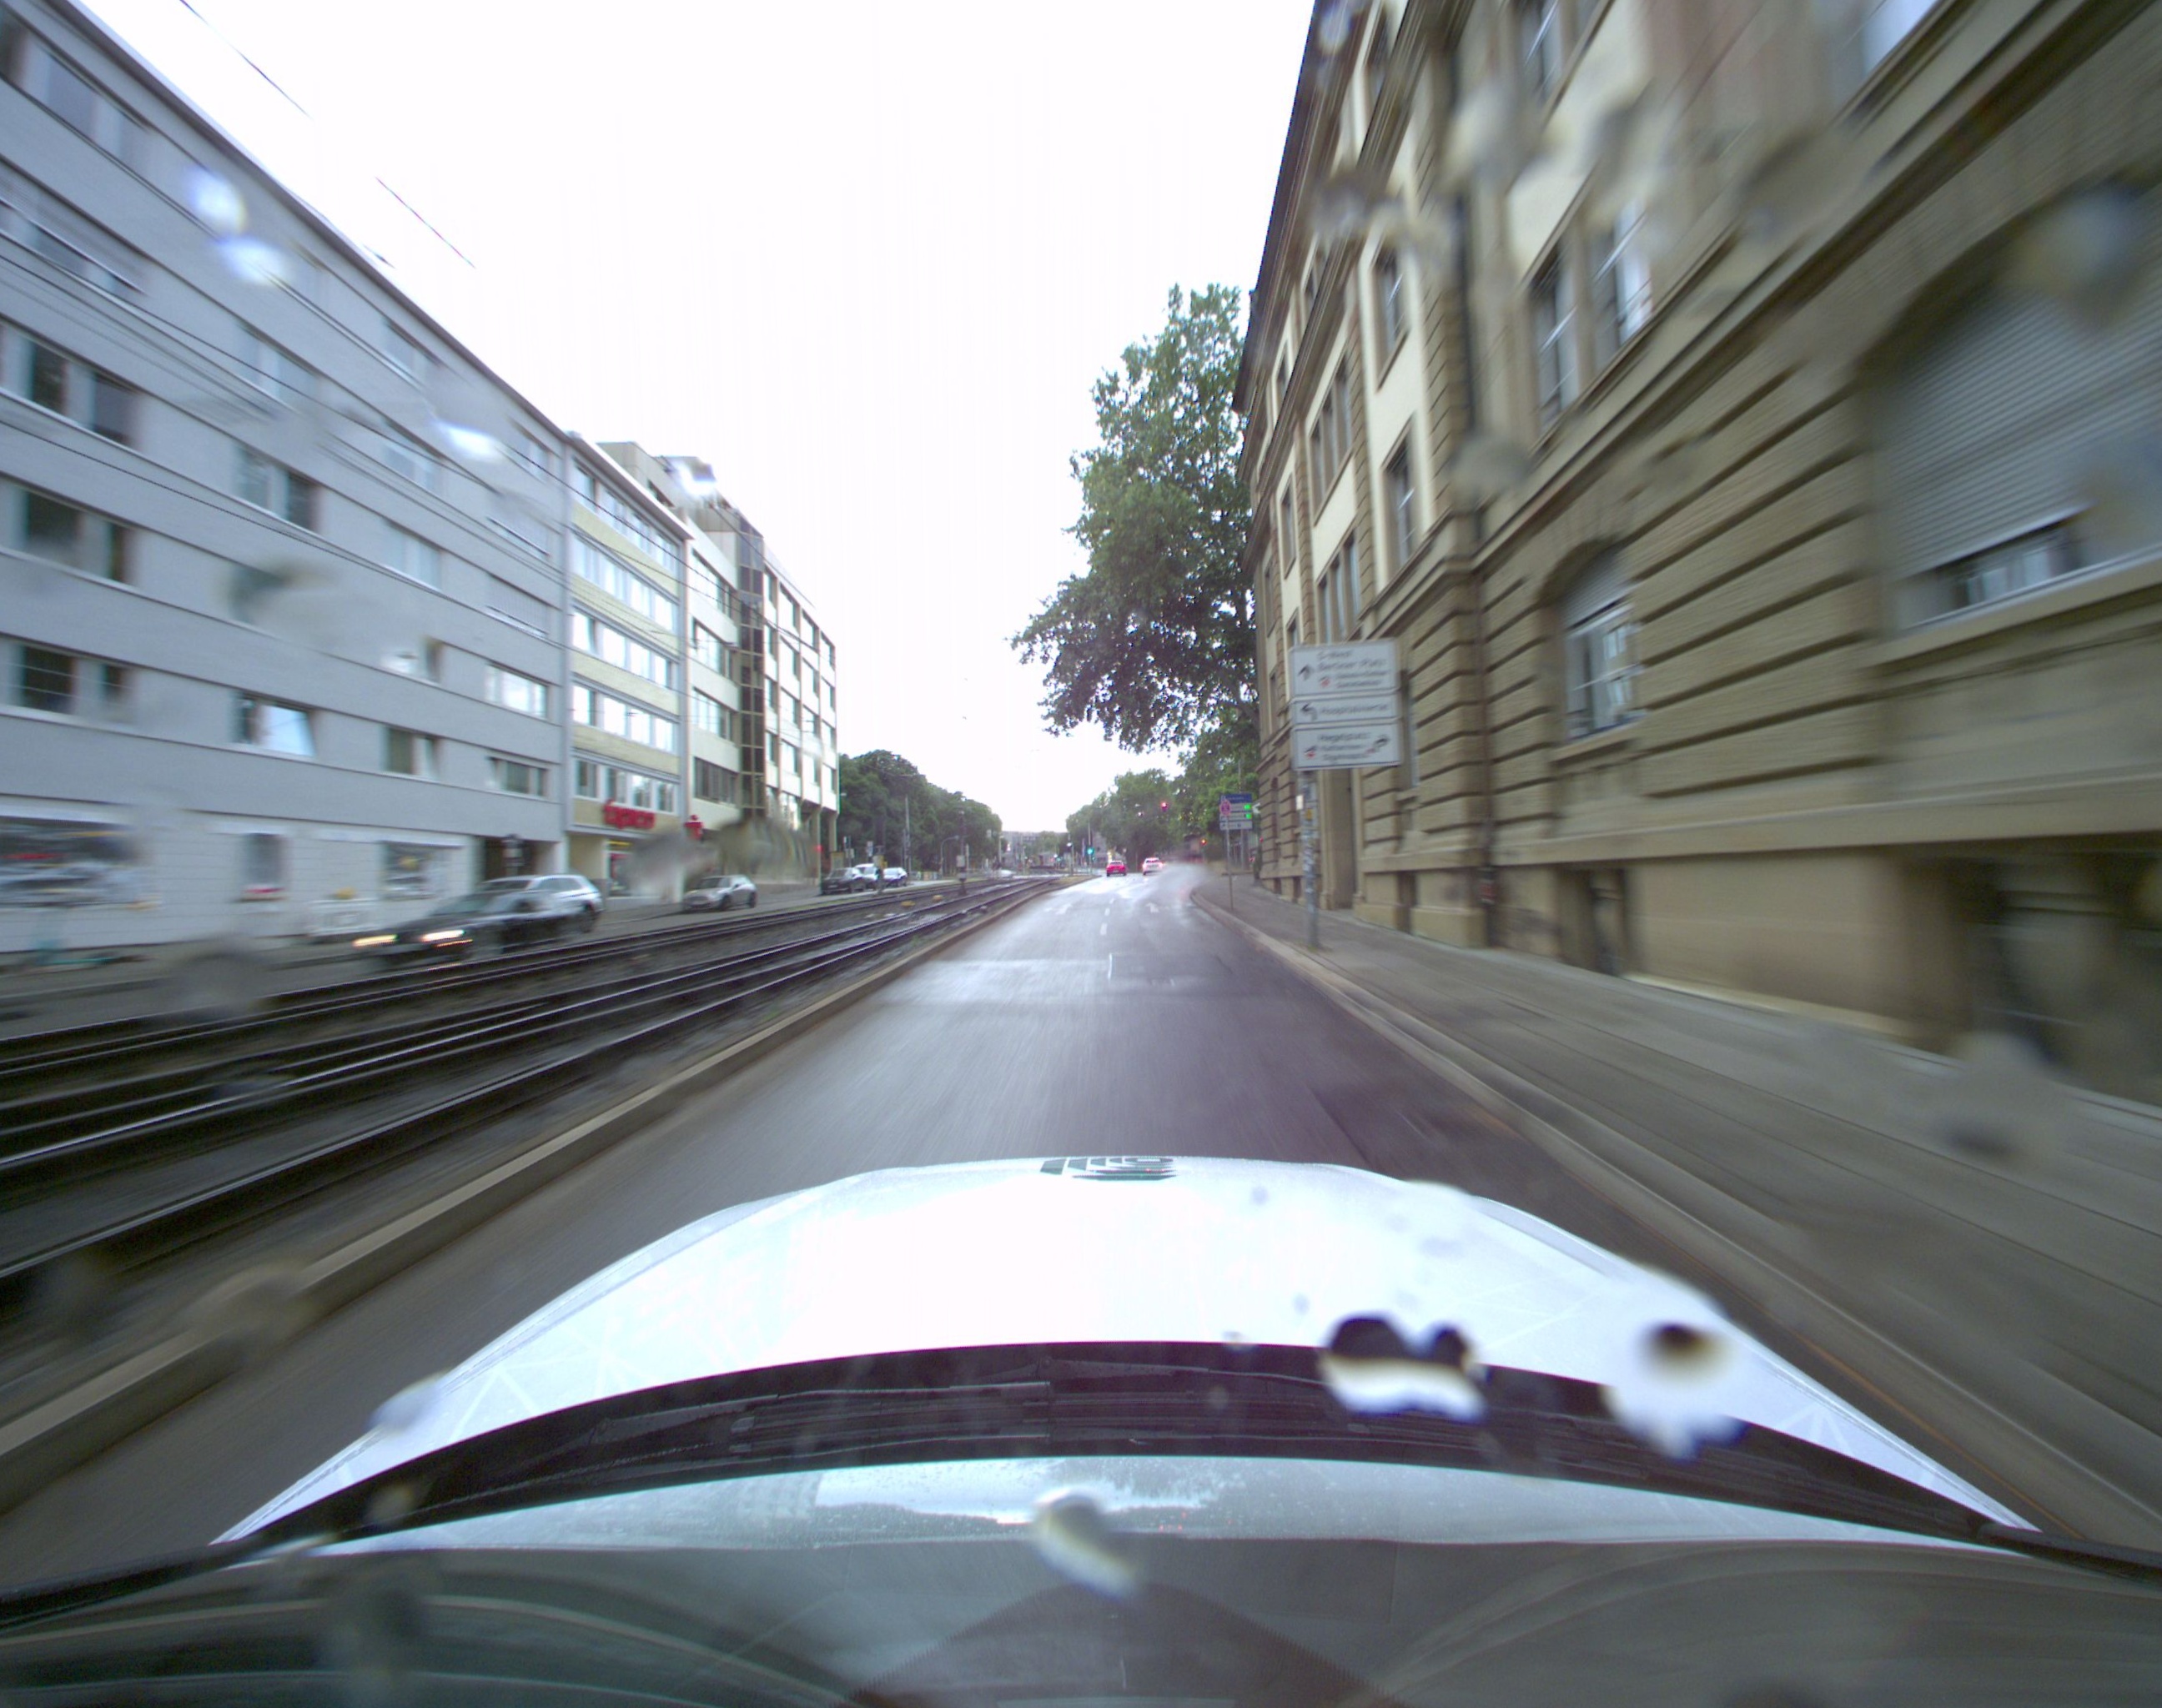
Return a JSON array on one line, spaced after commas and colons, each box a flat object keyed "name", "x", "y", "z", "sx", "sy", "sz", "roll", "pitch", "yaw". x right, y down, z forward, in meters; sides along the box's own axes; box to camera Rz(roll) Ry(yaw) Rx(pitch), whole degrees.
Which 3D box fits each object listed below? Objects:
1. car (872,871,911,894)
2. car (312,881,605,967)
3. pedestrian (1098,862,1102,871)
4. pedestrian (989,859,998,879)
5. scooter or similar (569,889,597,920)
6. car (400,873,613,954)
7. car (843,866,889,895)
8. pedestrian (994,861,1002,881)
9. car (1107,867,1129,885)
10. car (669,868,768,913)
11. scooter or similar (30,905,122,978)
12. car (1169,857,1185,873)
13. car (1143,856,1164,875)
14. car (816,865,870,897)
[{"name": "car", "x": -14.136, "y": 2.123, "z": 60.907, "sx": 1.988, "sy": 1.582, "sz": 4.545, "roll": 0, "pitch": -2, "yaw": -2}, {"name": "car", "x": -11.332, "y": 1.195, "z": 15.385, "sx": 1.988, "sy": 1.255, "sz": 4.691, "roll": -3, "pitch": -2, "yaw": -2}, {"name": "pedestrian", "x": 3.816, "y": 2.500, "z": 164.853, "sx": 0.755, "sy": 1.824, "sz": 0.699, "roll": 0, "pitch": -2, "yaw": -7}, {"name": "pedestrian", "x": -8.258, "y": 1.411, "z": 76.577, "sx": 0.641, "sy": 1.788, "sz": 0.804, "roll": 0, "pitch": -2, "yaw": -23}, {"name": "scooter or similar", "x": -17.777, "y": 1.790, "z": 29.066, "sx": 0.379, "sy": 1.032, "sz": 0.974, "roll": 0, "pitch": 2, "yaw": -1}, {"name": "car", "x": -14.138, "y": 1.391, "z": 20.487, "sx": 1.987, "sy": 1.674, "sz": 4.695, "roll": 0, "pitch": 0, "yaw": 1}, {"name": "car", "x": -14.356, "y": 1.748, "z": 54.603, "sx": 1.988, "sy": 1.850, "sz": 4.691, "roll": 0, "pitch": -2, "yaw": -2}, {"name": "pedestrian", "x": -7.732, "y": 1.577, "z": 75.839, "sx": 0.640, "sy": 1.788, "sz": 0.806, "roll": 0, "pitch": -2, "yaw": -18}, {"name": "car", "x": 3.488, "y": 2.057, "z": 75.379, "sx": 1.972, "sy": 1.640, "sz": 4.420, "roll": -1, "pitch": -2, "yaw": 3}, {"name": "car", "x": -14.414, "y": 1.430, "z": 32.699, "sx": 1.988, "sy": 1.674, "sz": 4.691, "roll": 0, "pitch": -2, "yaw": -2}, {"name": "scooter or similar", "x": -17.704, "y": 1.525, "z": 14.365, "sx": 0.379, "sy": 1.203, "sz": 0.973, "roll": 0, "pitch": -2, "yaw": -1}, {"name": "car", "x": 19.017, "y": 2.146, "z": 161.593, "sx": 2.536, "sy": 3.134, "sz": 5.030, "roll": -1, "pitch": -2, "yaw": 1}, {"name": "car", "x": 6.373, "y": 0.978, "z": 71.545, "sx": 1.671, "sy": 1.576, "sz": 4.259, "roll": -3, "pitch": -1, "yaw": 6}, {"name": "car", "x": -14.297, "y": 1.630, "z": 49.150, "sx": 1.988, "sy": 1.850, "sz": 4.691, "roll": 0, "pitch": -2, "yaw": -2}]
